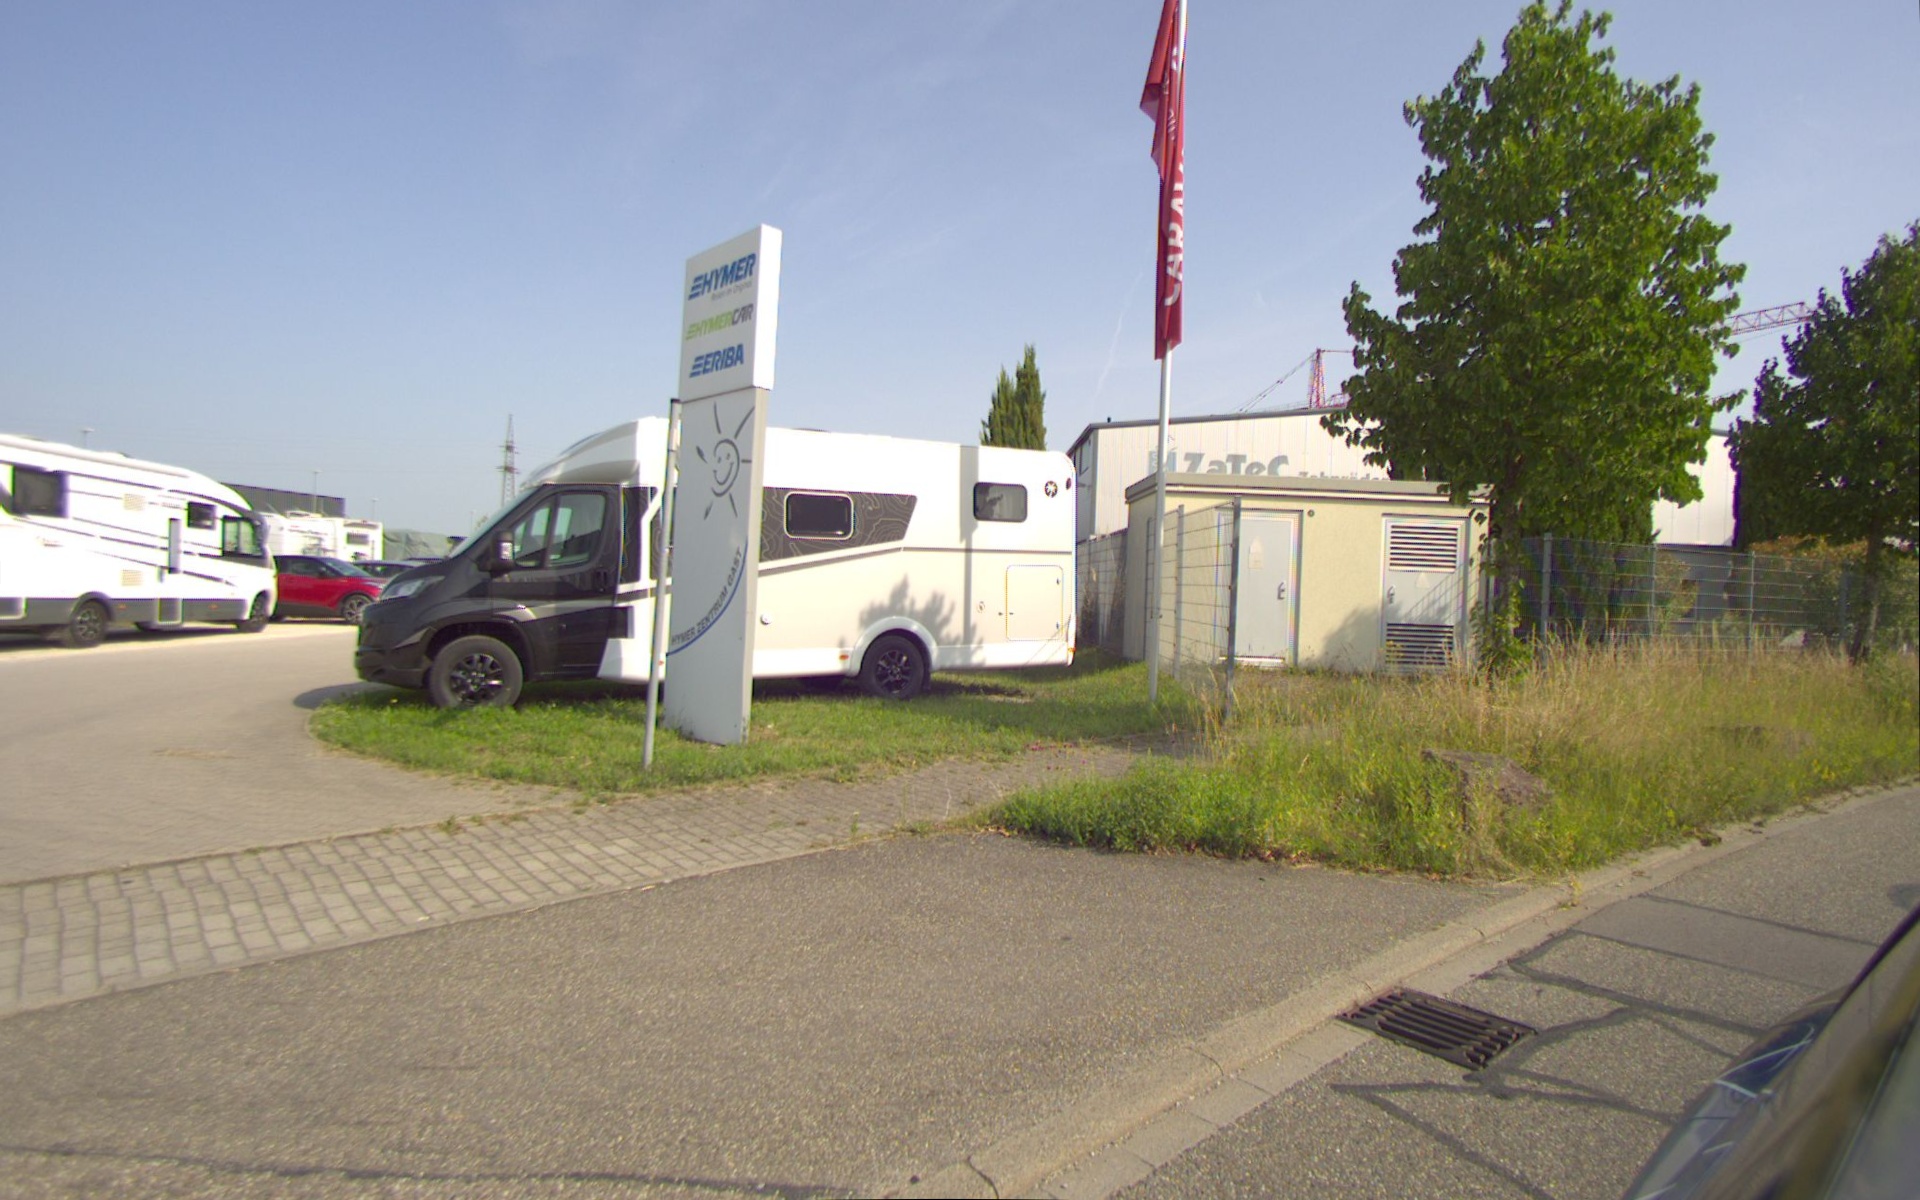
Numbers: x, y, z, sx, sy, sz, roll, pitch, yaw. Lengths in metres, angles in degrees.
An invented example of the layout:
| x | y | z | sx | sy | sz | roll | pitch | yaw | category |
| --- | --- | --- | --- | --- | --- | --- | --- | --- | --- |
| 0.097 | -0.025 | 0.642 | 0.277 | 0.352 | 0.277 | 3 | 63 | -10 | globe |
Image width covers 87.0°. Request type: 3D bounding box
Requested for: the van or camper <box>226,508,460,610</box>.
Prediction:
| x | y | z | sx | sy | sz | roll | pitch | yaw | category |
| --- | --- | --- | --- | --- | --- | --- | --- | --- | --- |
| -21.077 | -1.374 | 34.799 | 6.482 | 3.168 | 2.493 | 2 | 1 | -1 | van or camper |

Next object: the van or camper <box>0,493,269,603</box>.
| x | y | z | sx | sy | sz | roll | pitch | yaw | category |
| --- | --- | --- | --- | --- | --- | --- | --- | --- | --- |
| -21.843 | -1.316 | 26.073 | 6.482 | 2.556 | 2.226 | 2 | 1 | -1 | van or camper |

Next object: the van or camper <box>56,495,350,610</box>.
| x | y | z | sx | sy | sz | roll | pitch | yaw | category |
| --- | --- | --- | --- | --- | --- | --- | --- | --- | --- |
| -21.156 | -1.309 | 28.517 | 6.482 | 2.899 | 2.329 | 2 | 1 | -1 | van or camper |

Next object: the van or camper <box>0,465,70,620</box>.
| x | y | z | sx | sy | sz | roll | pitch | yaw | category |
| --- | --- | --- | --- | --- | --- | --- | --- | --- | --- |
| -21.236 | -1.178 | 19.265 | 6.482 | 2.899 | 2.329 | 2 | 1 | -1 | van or camper |

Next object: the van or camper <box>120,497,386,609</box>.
| x | y | z | sx | sy | sz | roll | pitch | yaw | category |
| --- | --- | --- | --- | --- | --- | --- | --- | --- | --- |
| -21.875 | -1.436 | 31.531 | 6.482 | 3.168 | 2.493 | 2 | 1 | -1 | van or camper |

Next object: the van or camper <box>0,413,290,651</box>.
| x | y | z | sx | sy | sz | roll | pitch | yaw | category |
| --- | --- | --- | --- | --- | --- | --- | --- | --- | --- |
| -13.892 | -0.986 | 15.781 | 2.533 | 3.069 | 7.291 | 2 | 1 | -5 | van or camper |

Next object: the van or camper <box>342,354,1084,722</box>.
| x | y | z | sx | sy | sz | roll | pitch | yaw | category |
| --- | --- | --- | --- | --- | --- | --- | --- | --- | --- |
| -2.307 | -0.494 | 10.779 | 7.194 | 2.883 | 2.360 | 1 | 1 | -30 | van or camper |

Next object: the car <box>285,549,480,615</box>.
| x | y | z | sx | sy | sz | roll | pitch | yaw | category |
| --- | --- | --- | --- | --- | --- | --- | --- | --- | --- |
| -14.547 | -0.425 | 25.654 | 3.922 | 1.515 | 1.716 | 1 | -1 | -2 | car |

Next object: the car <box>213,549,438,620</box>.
| x | y | z | sx | sy | sz | roll | pitch | yaw | category |
| --- | --- | --- | --- | --- | --- | --- | --- | --- | --- |
| -14.221 | -0.321 | 22.865 | 3.920 | 1.435 | 1.717 | 2 | -1 | -5 | car |
